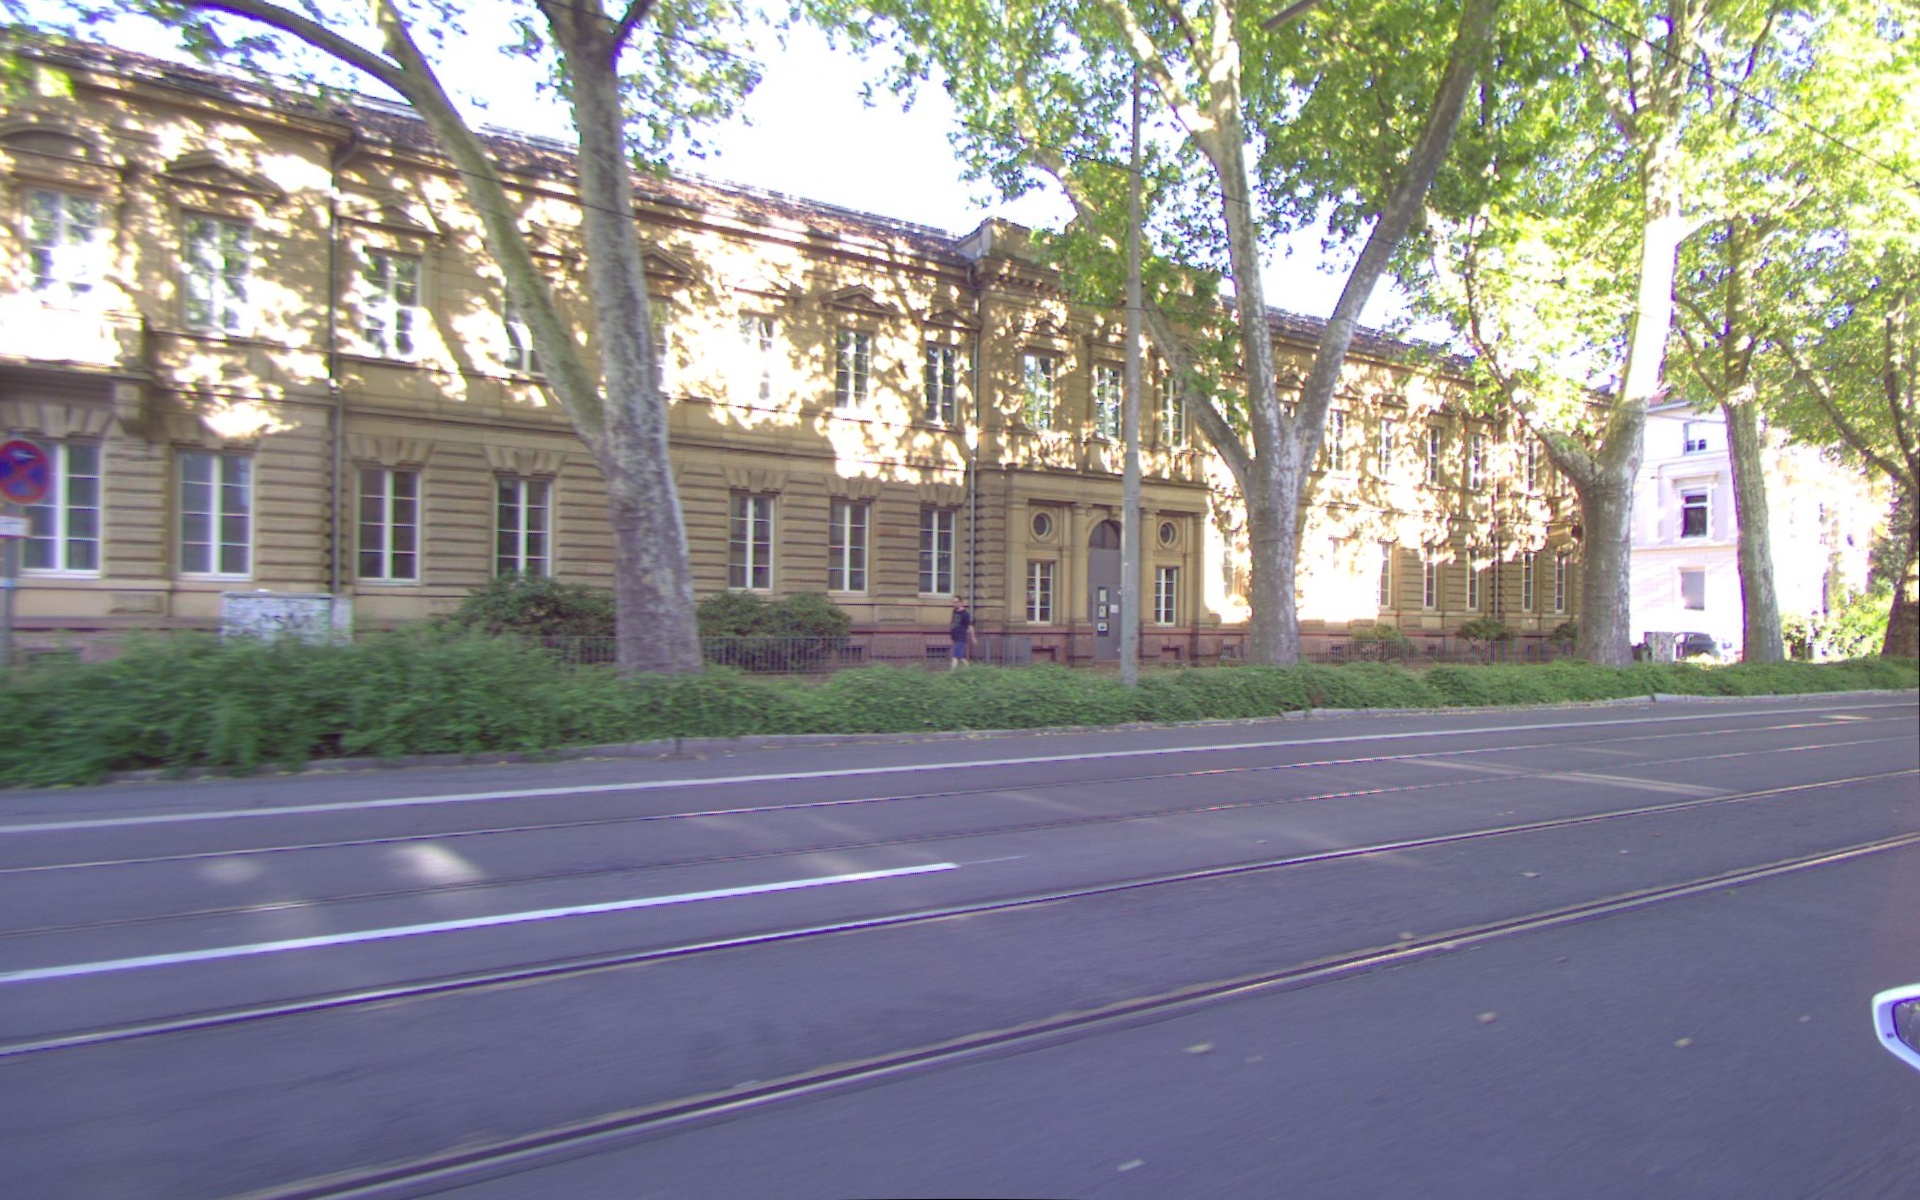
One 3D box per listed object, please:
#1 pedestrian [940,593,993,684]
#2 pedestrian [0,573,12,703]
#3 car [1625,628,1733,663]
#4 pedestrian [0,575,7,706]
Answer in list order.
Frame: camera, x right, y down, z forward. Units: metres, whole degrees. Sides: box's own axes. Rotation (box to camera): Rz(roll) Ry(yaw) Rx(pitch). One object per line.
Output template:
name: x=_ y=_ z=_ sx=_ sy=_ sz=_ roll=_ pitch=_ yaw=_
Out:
pedestrian: x=0.128 y=0.799 z=21.135 sx=0.828 sy=1.874 sz=0.715 roll=2 pitch=0 yaw=-30
pedestrian: x=-13.162 y=0.493 z=13.377 sx=0.656 sy=1.720 sz=0.666 roll=2 pitch=0 yaw=-37
car: x=33.264 y=2.089 z=46.566 sx=1.673 sy=1.437 sz=3.760 roll=-1 pitch=0 yaw=-29
pedestrian: x=-12.727 y=0.520 z=12.854 sx=0.650 sy=1.720 sz=0.629 roll=2 pitch=0 yaw=-37
